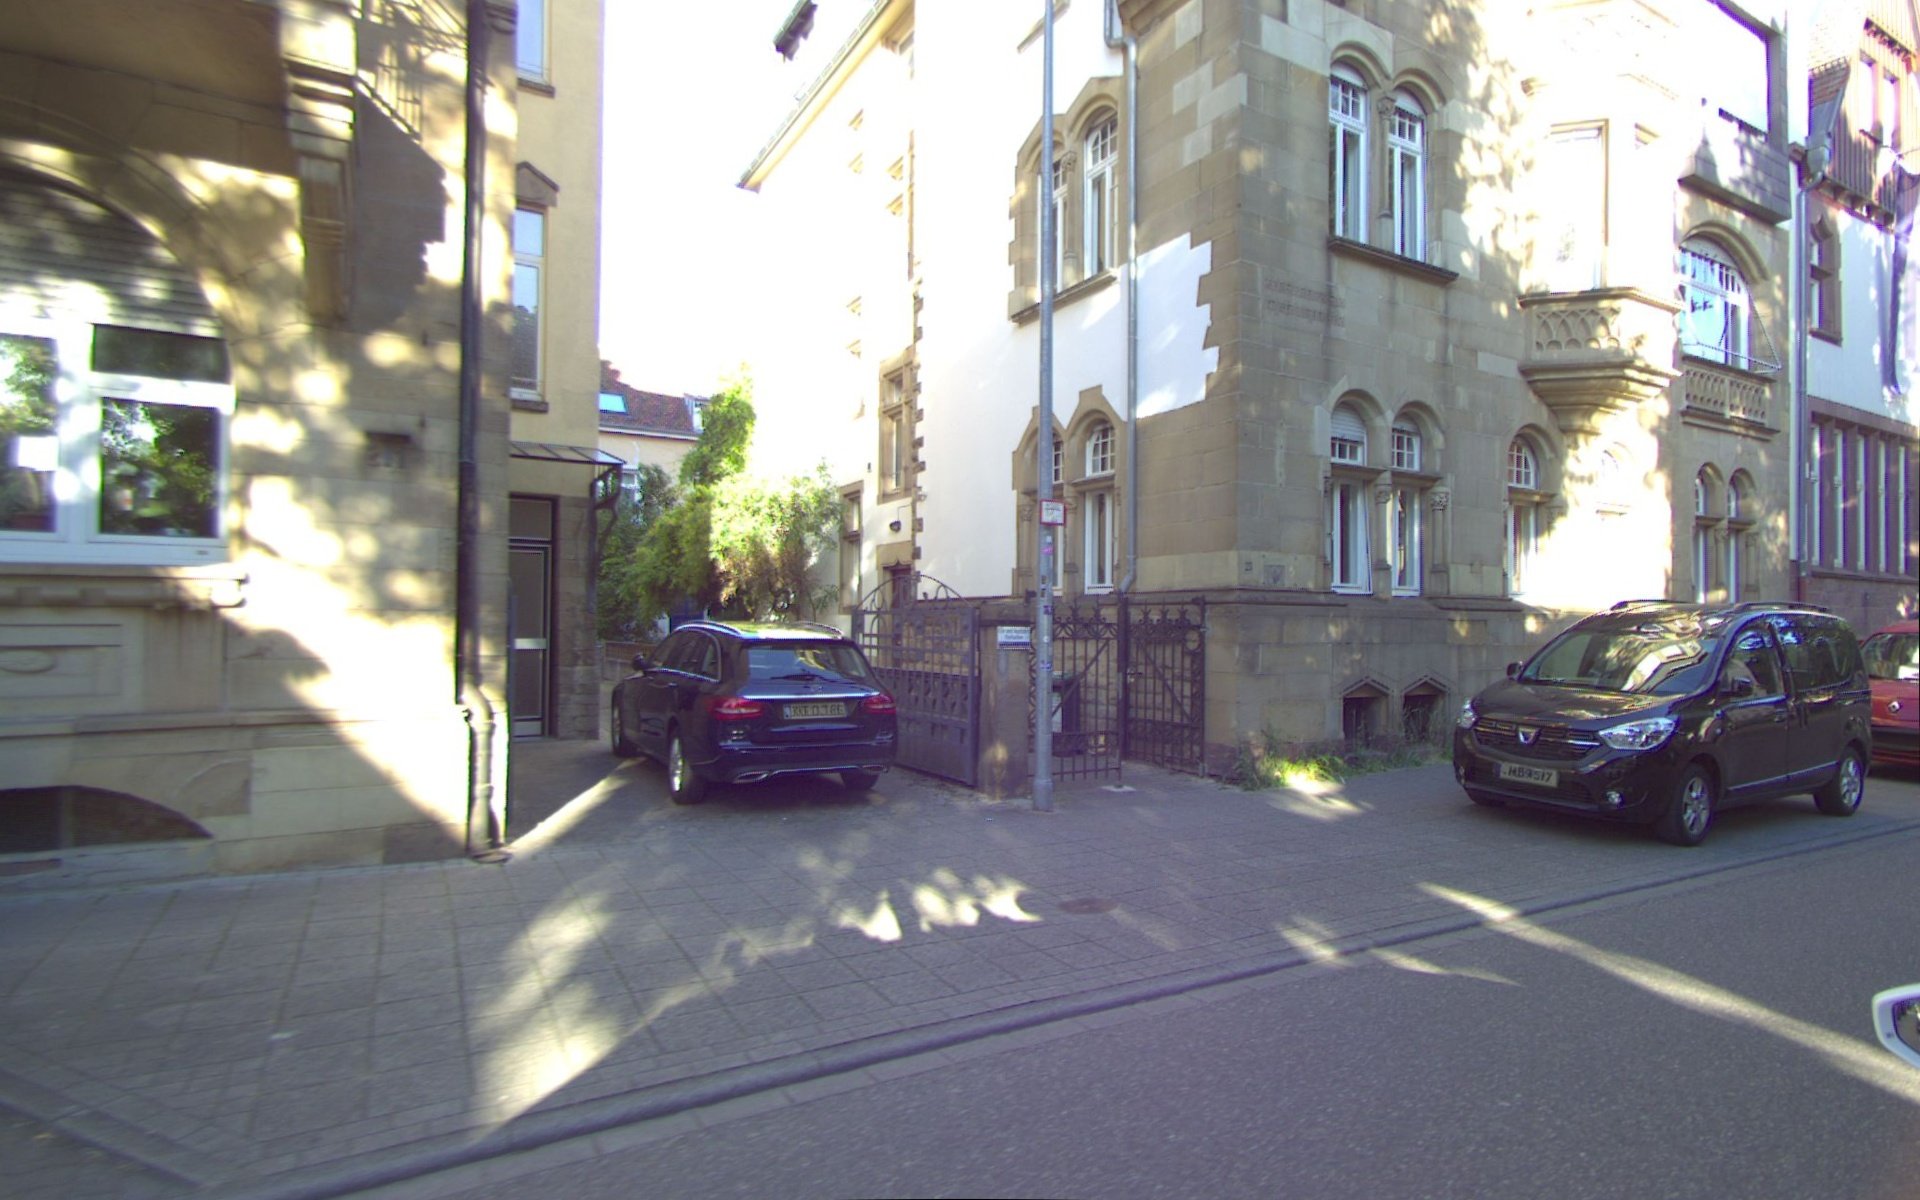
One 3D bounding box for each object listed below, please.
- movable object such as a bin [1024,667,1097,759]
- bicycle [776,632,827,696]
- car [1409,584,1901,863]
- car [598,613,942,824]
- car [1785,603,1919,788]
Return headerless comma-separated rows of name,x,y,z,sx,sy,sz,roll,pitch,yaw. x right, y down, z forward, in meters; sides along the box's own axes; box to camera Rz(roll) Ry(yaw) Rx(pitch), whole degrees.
movable object such as a bin,1.128,1.248,11.293,0.645,0.972,0.525,1,-2,-28
bicycle,-3.123,1.228,19.644,0.421,1.165,1.833,1,-1,-27
car,6.091,0.881,8.670,4.488,1.876,1.761,1,-1,-30
car,-2.062,0.892,9.576,2.042,1.457,4.373,2,-1,-27
car,11.860,1.067,11.937,4.274,1.932,1.790,2,0,-30
